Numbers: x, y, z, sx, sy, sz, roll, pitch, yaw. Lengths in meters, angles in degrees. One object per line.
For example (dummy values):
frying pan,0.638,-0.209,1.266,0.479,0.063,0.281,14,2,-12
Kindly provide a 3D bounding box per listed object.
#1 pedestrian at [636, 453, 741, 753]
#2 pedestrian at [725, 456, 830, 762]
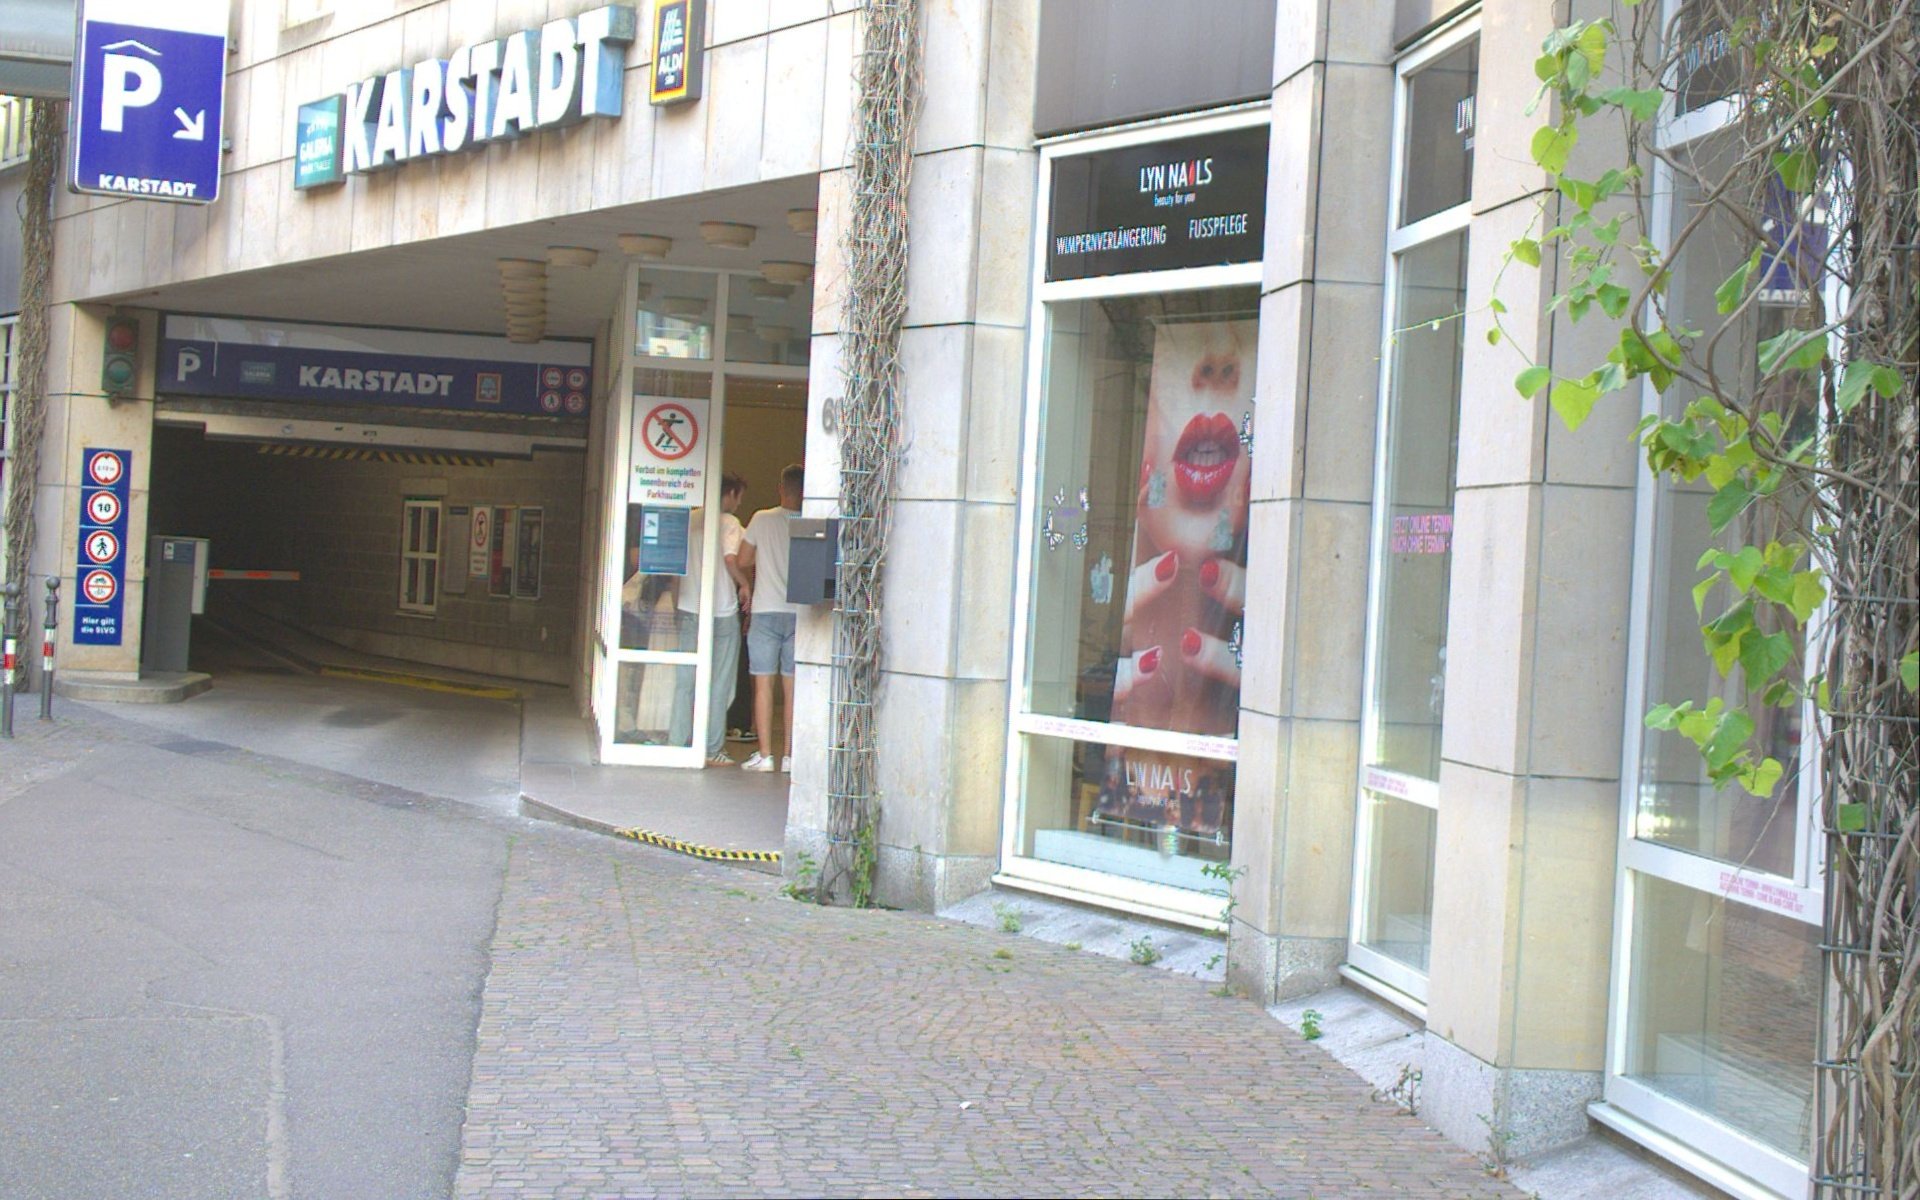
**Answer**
pedestrian,-1.703,0.014,21.598,0.542,1.840,0.408,3,1,-1
pedestrian,-1.133,0.051,21.376,0.542,1.855,0.408,3,1,-1
